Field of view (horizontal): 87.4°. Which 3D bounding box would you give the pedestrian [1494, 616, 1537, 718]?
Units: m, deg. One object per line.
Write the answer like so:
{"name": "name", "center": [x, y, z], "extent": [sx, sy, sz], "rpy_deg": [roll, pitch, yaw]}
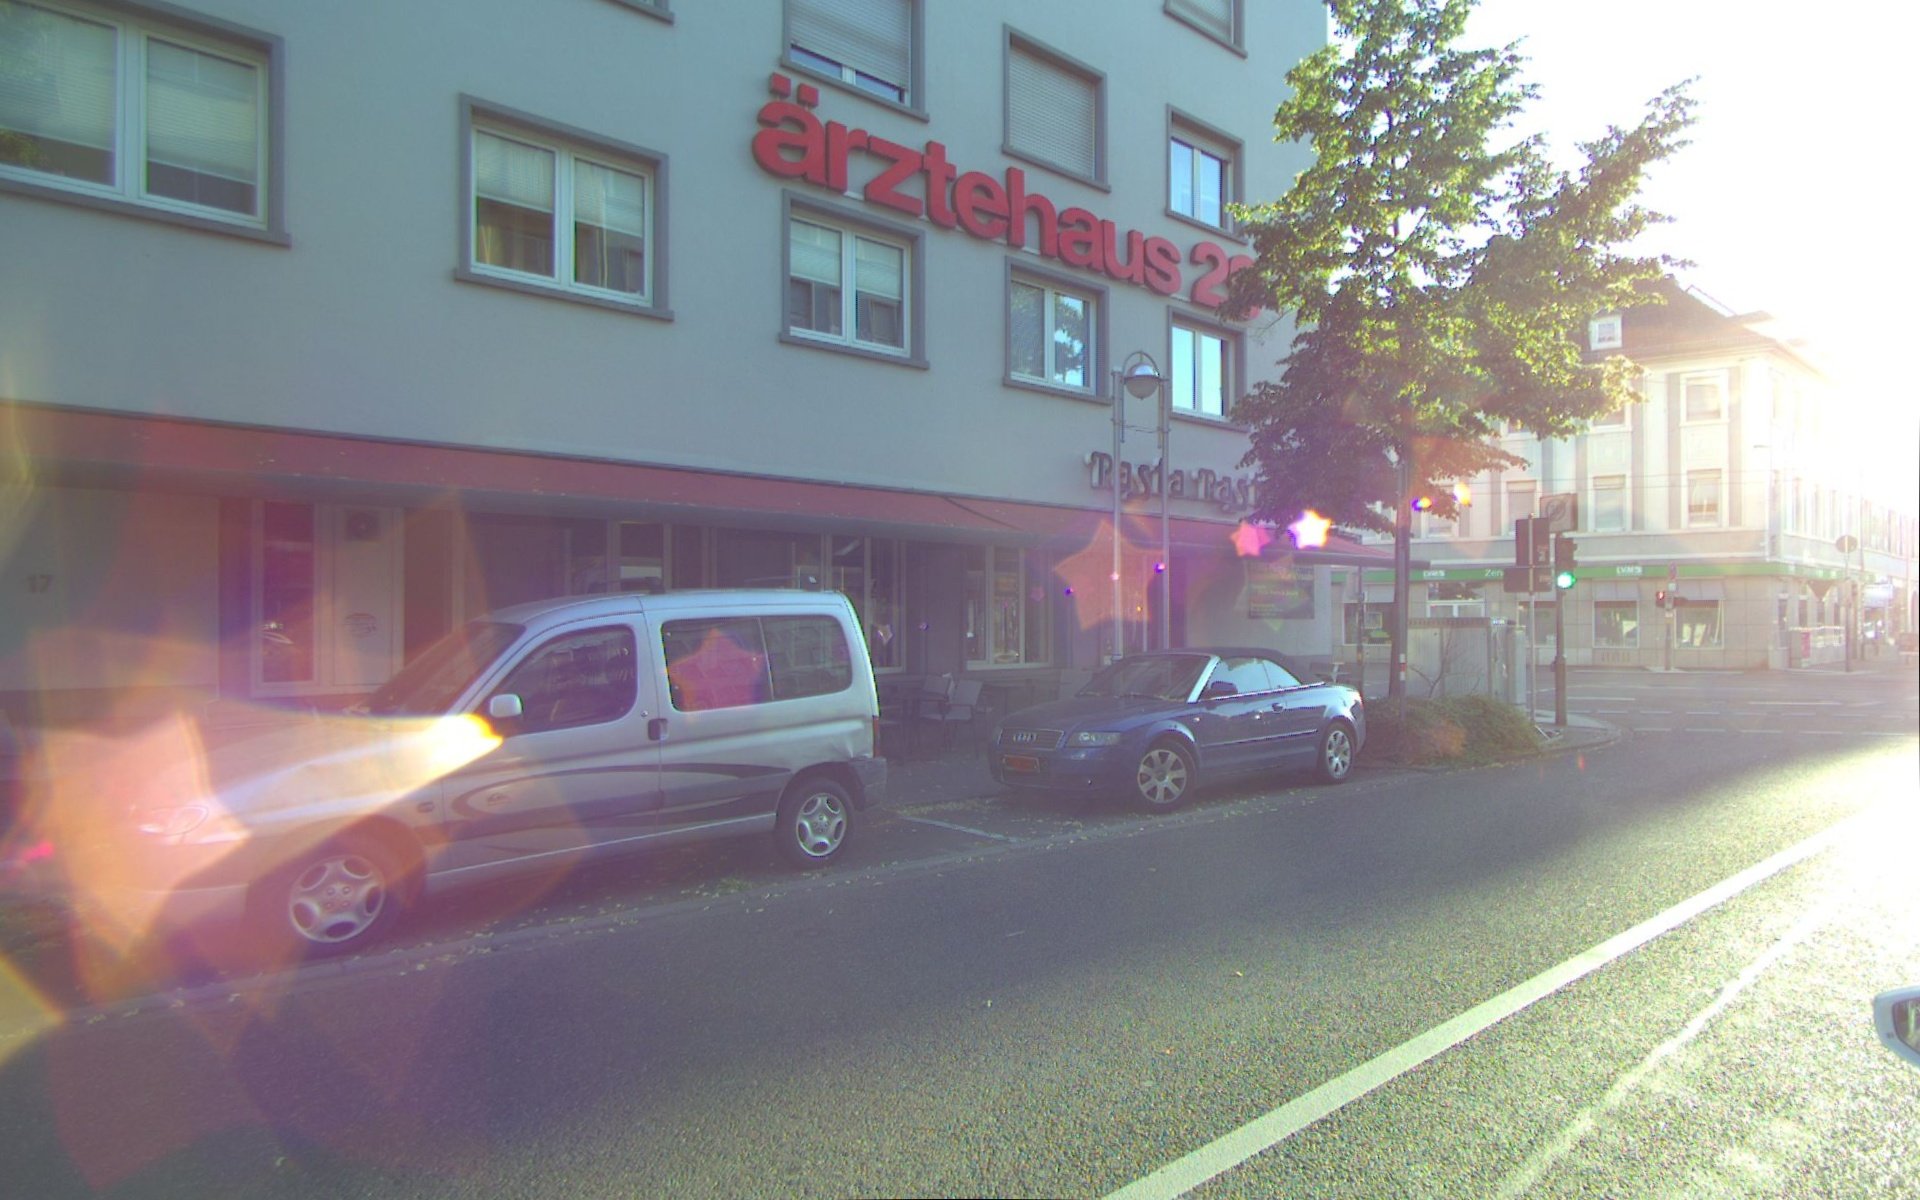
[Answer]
{"name": "pedestrian", "center": [9.367, 1.113, 16.960], "extent": [0.575, 1.678, 0.799], "rpy_deg": [0, -1, 25]}

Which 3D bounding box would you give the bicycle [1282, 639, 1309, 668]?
{"name": "bicycle", "center": [13.097, 2.072, 39.160], "extent": [0.490, 1.073, 1.736], "rpy_deg": [0, -1, 36]}

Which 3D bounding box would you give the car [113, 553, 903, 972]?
{"name": "car", "center": [-2.435, 0.690, 6.002], "extent": [3.970, 1.686, 1.699], "rpy_deg": [2, 0, -42]}

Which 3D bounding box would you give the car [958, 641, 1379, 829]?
{"name": "car", "center": [2.145, 1.112, 9.662], "extent": [4.274, 1.371, 1.636], "rpy_deg": [1, -2, -39]}
